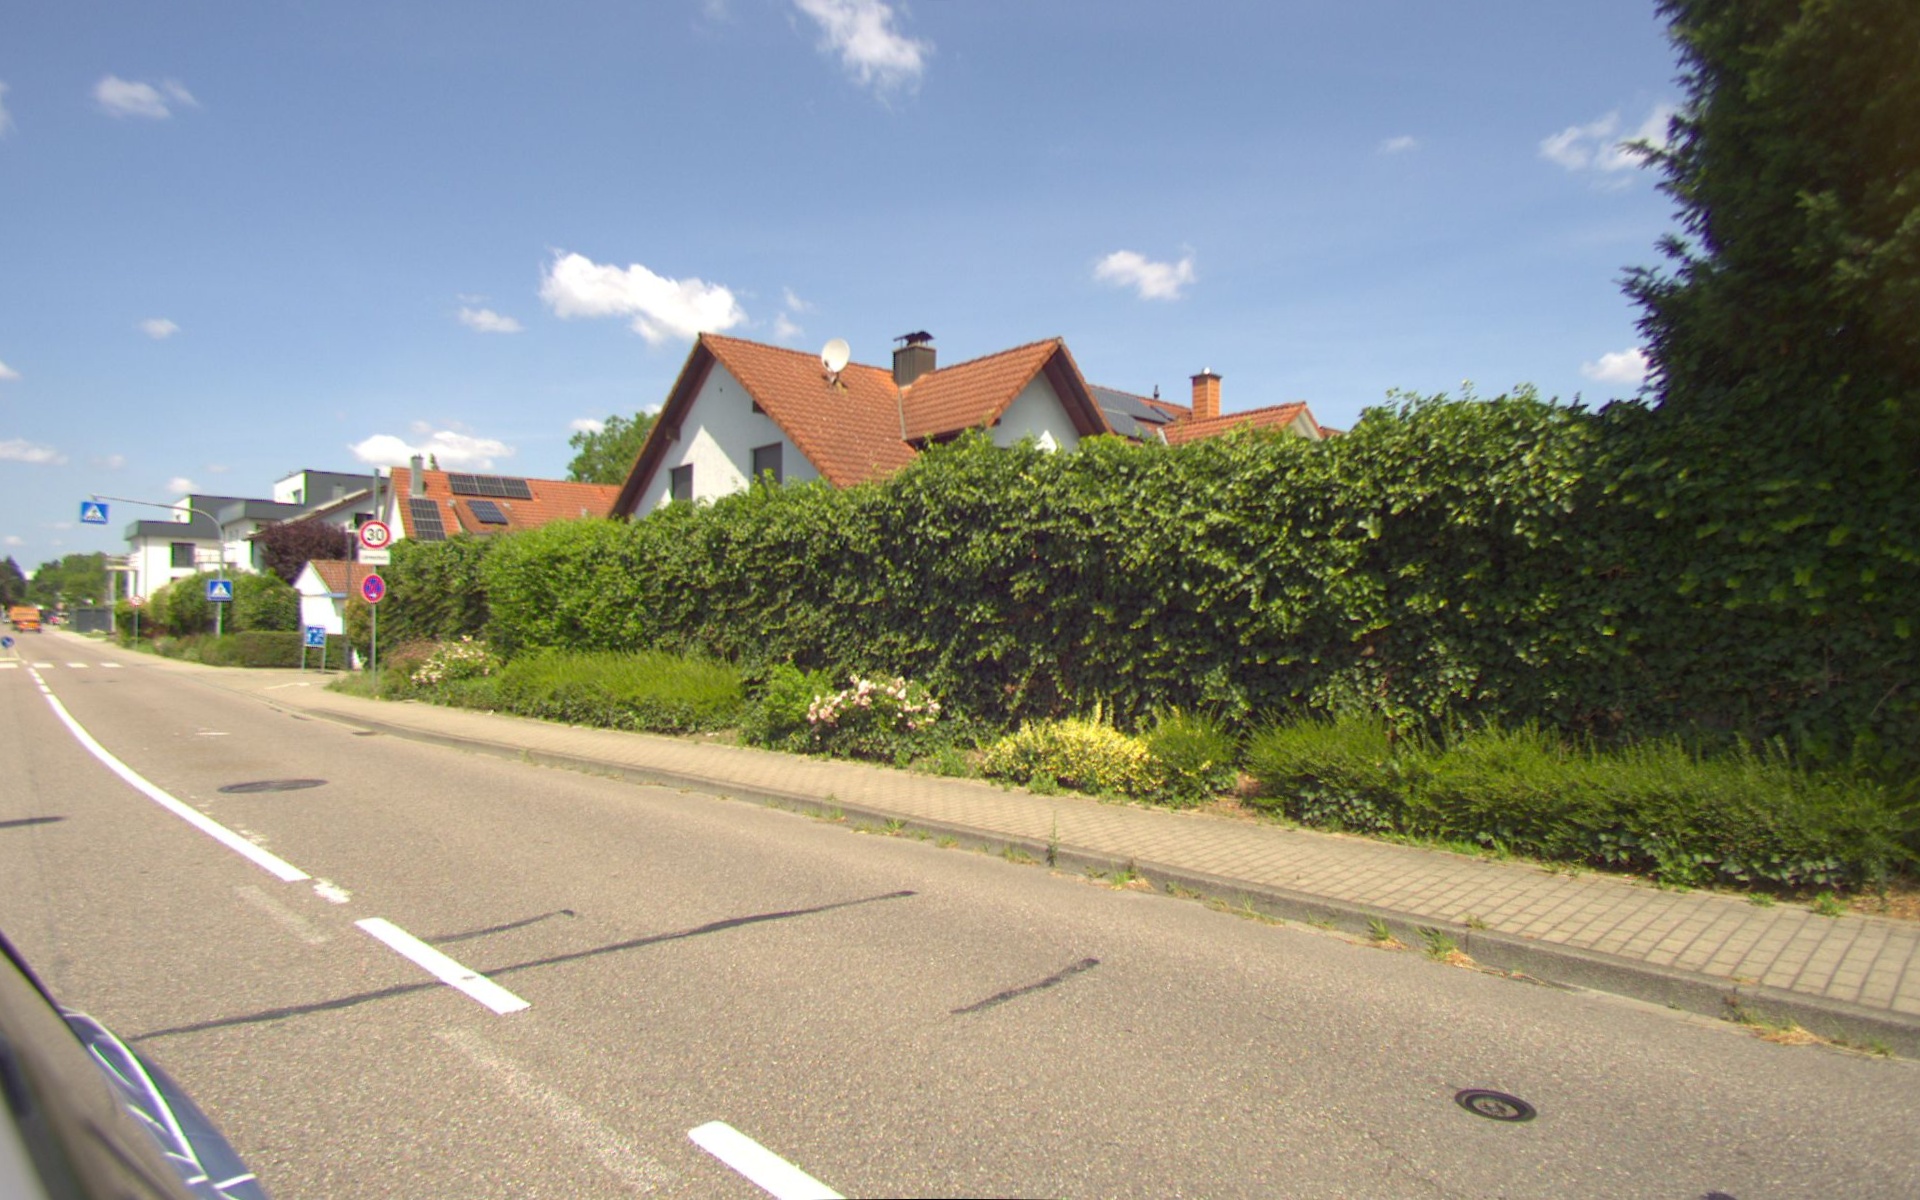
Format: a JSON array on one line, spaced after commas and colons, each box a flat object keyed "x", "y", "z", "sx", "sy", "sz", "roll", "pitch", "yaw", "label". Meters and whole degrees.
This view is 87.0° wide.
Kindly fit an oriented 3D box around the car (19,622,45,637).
[{"x": -94.635, "y": 3.026, "z": 103.186, "sx": 1.774, "sy": 1.500, "sz": 3.616, "roll": 3, "pitch": -3, "yaw": -44, "label": "car"}]

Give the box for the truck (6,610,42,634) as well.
[{"x": -108.705, "y": 2.536, "z": 117.535, "sx": 2.824, "sy": 2.731, "sz": 6.796, "roll": 3, "pitch": -3, "yaw": -44, "label": "truck"}]

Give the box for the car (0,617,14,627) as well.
[{"x": -150.660, "y": 3.455, "z": 159.552, "sx": 1.702, "sy": 1.504, "sz": 3.769, "roll": 2, "pitch": -2, "yaw": -35, "label": "car"}]
